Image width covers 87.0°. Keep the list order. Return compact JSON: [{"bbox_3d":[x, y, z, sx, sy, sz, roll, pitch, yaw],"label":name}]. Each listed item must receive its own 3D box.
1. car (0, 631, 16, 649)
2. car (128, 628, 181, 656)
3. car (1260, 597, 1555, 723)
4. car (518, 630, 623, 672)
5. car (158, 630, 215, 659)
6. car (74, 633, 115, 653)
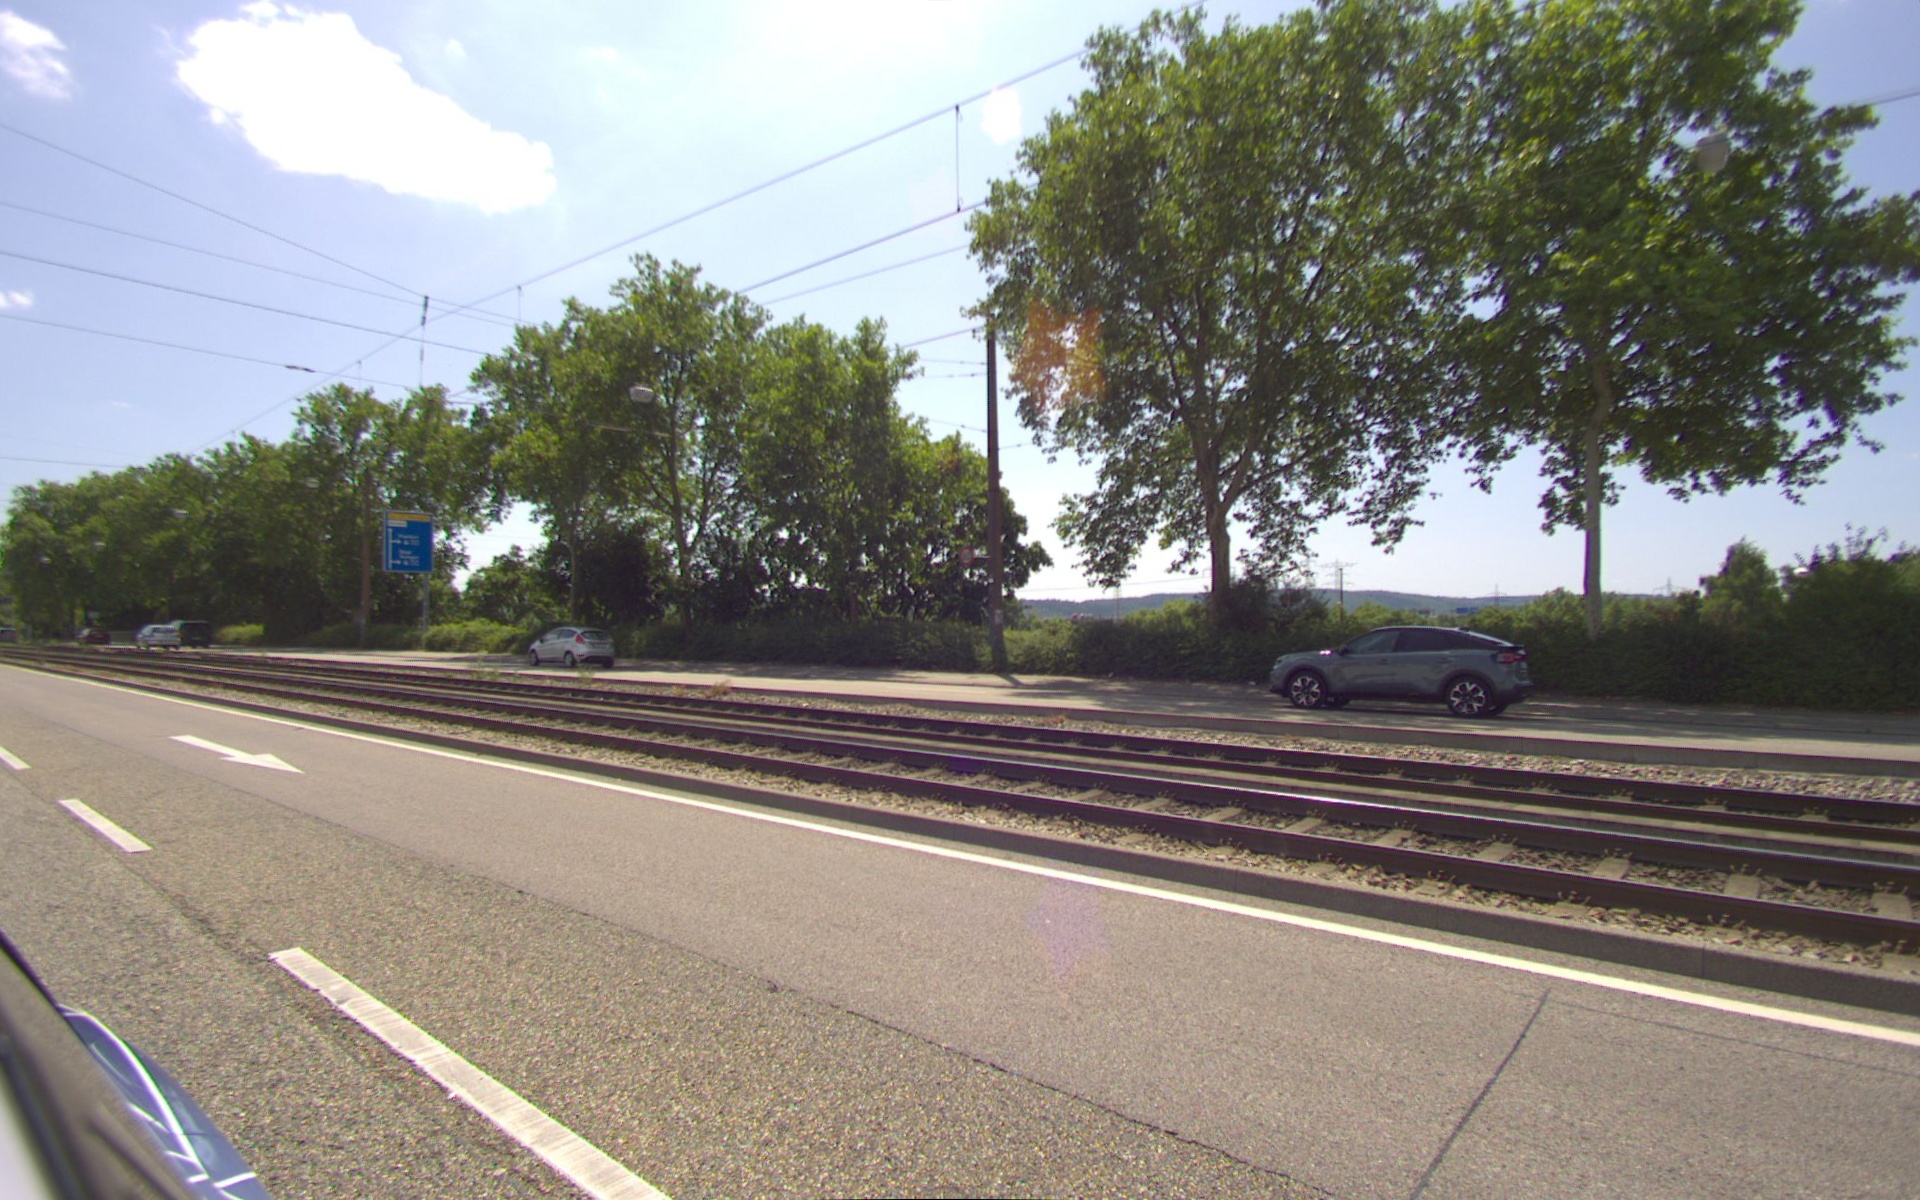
[{"bbox_3d":[-104.659,4.363,110.305,4.965,1.845,1.973,-2,-4,40],"label":"car"},{"bbox_3d":[-48.344,2.530,60.716,4.055,1.596,1.668,-2,-5,40],"label":"car"},{"bbox_3d":[7.843,0.994,17.917,4.404,1.932,1.975,-2,0,38],"label":"car"},{"bbox_3d":[-14.024,1.804,36.349,3.879,1.427,1.804,-1,-4,39],"label":"car"},{"bbox_3d":[-52.249,2.987,68.315,4.965,1.845,1.973,-2,-4,40],"label":"car"},{"bbox_3d":[-77.180,3.826,90.231,4.464,1.683,1.973,-2,-4,40],"label":"car"}]
